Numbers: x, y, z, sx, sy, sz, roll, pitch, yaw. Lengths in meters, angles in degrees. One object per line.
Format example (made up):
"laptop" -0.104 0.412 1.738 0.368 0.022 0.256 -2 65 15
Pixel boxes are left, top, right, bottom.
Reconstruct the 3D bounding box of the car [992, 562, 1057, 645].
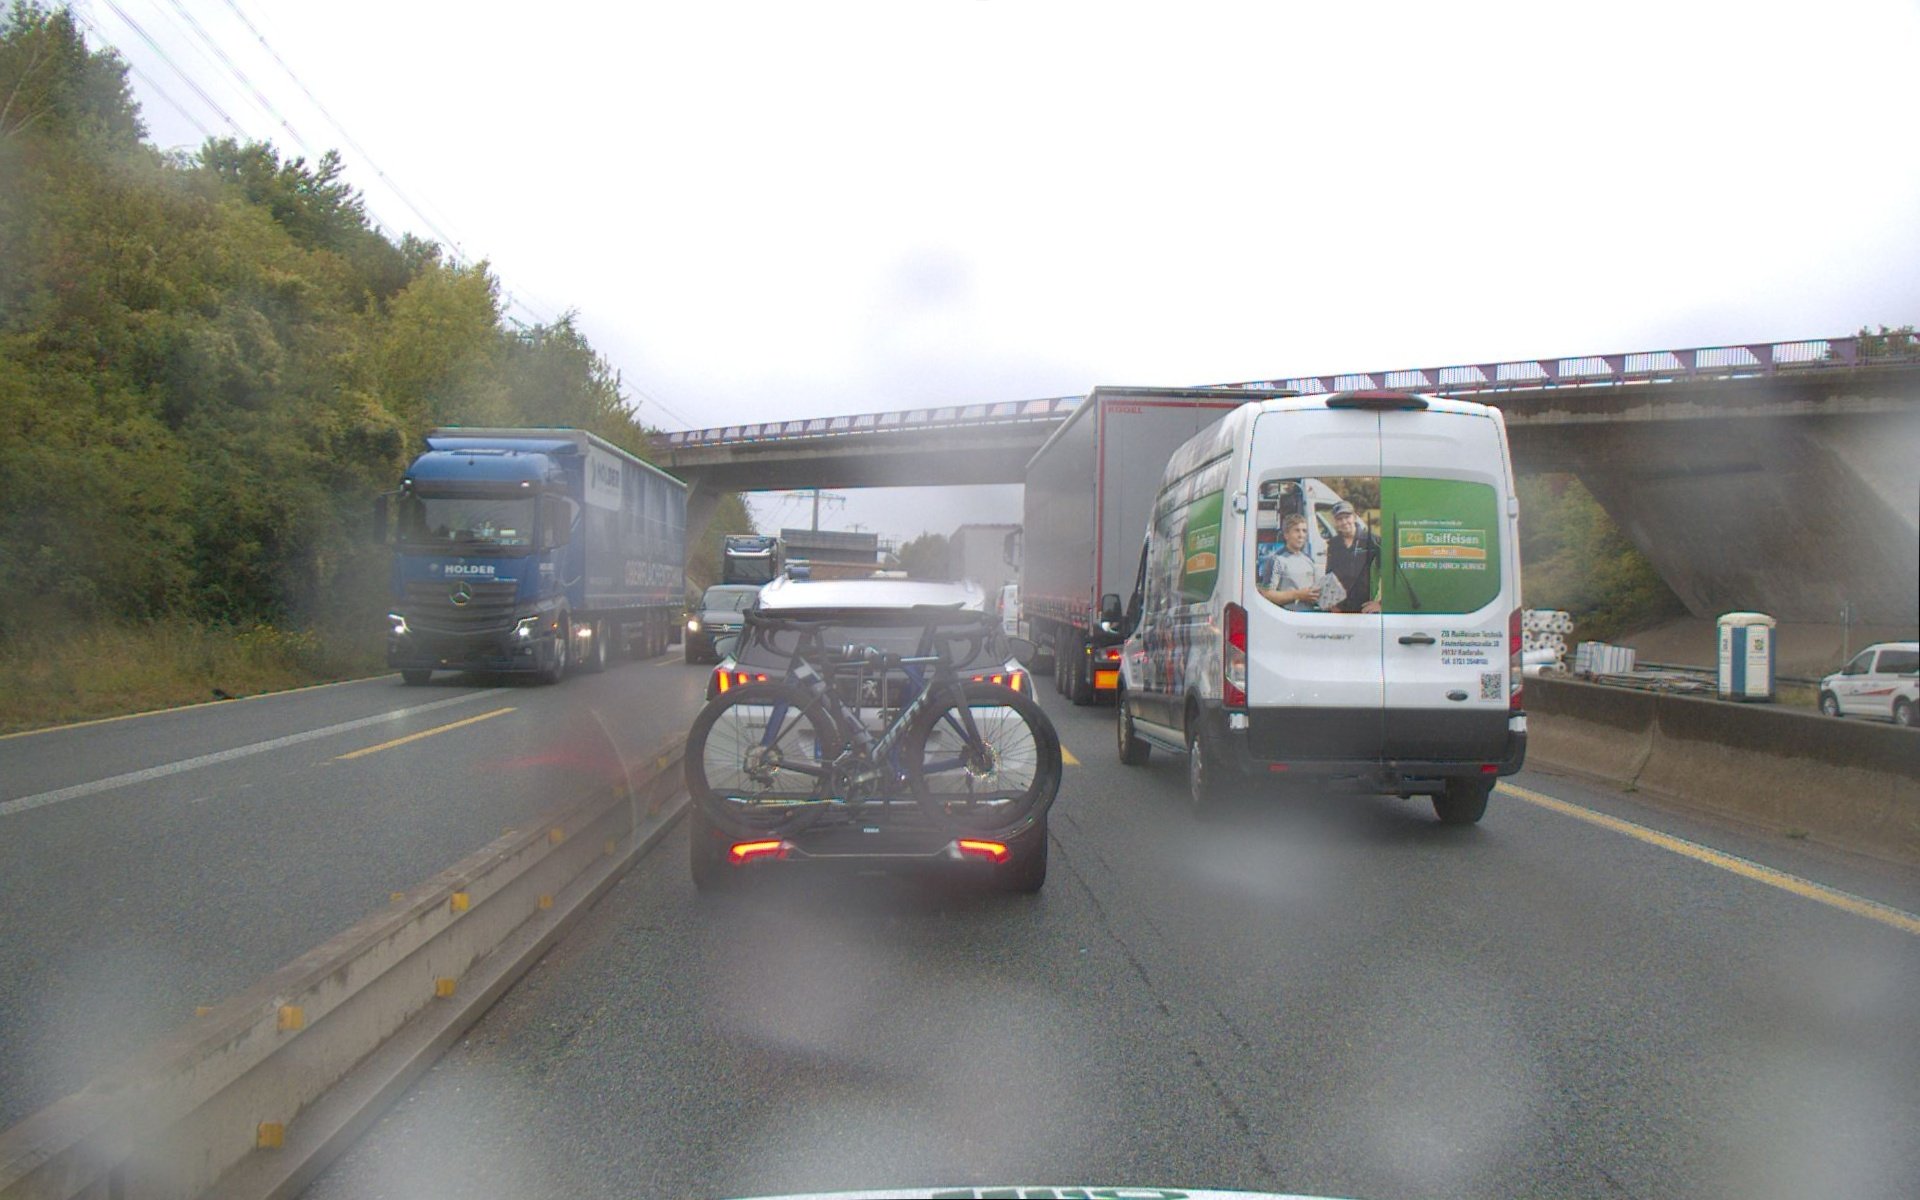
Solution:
"car" 1.778 0.106 46.655 1.636 2.218 4.534 1 0 0

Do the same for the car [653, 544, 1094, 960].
"car" -0.347 0.627 9.049 1.773 1.666 4.635 1 0 0

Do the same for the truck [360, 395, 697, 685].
"truck" -7.642 -0.849 32.634 2.710 4.195 16.920 1 0 -2

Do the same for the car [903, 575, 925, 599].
"car" -4.090 -1.133 147.737 1.953 2.049 3.998 1 0 -2

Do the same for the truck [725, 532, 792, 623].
"truck" -9.876 -1.034 81.883 2.414 4.195 10.083 1 0 -2

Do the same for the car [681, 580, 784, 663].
"car" -4.780 0.441 35.187 1.748 1.638 4.102 1 0 -2

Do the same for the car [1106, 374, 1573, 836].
"car" 2.539 0.044 12.914 2.101 2.723 6.115 1 0 -1

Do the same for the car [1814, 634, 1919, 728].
"car" 20.543 1.716 35.918 1.810 1.840 4.156 1 0 -1

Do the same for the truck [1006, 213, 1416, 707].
"truck" 3.259 -1.621 29.711 3.899 5.772 20.371 1 0 -1

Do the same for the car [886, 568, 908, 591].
"car" -6.812 -2.197 179.799 2.194 2.347 4.571 1 0 -1

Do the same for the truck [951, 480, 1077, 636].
"truck" 2.048 -1.536 72.126 4.646 5.772 20.374 1 0 0

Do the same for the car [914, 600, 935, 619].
"car" -2.806 0.749 130.803 1.605 1.524 3.665 1 0 -1

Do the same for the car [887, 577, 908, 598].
"car" -6.276 -1.216 166.692 1.953 2.049 3.999 1 0 -1

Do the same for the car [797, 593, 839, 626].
"car" -6.689 0.447 78.021 1.900 1.520 3.996 1 0 -4

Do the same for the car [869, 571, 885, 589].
"car" -10.559 -2.554 210.488 1.953 2.164 4.525 1 0 -1
